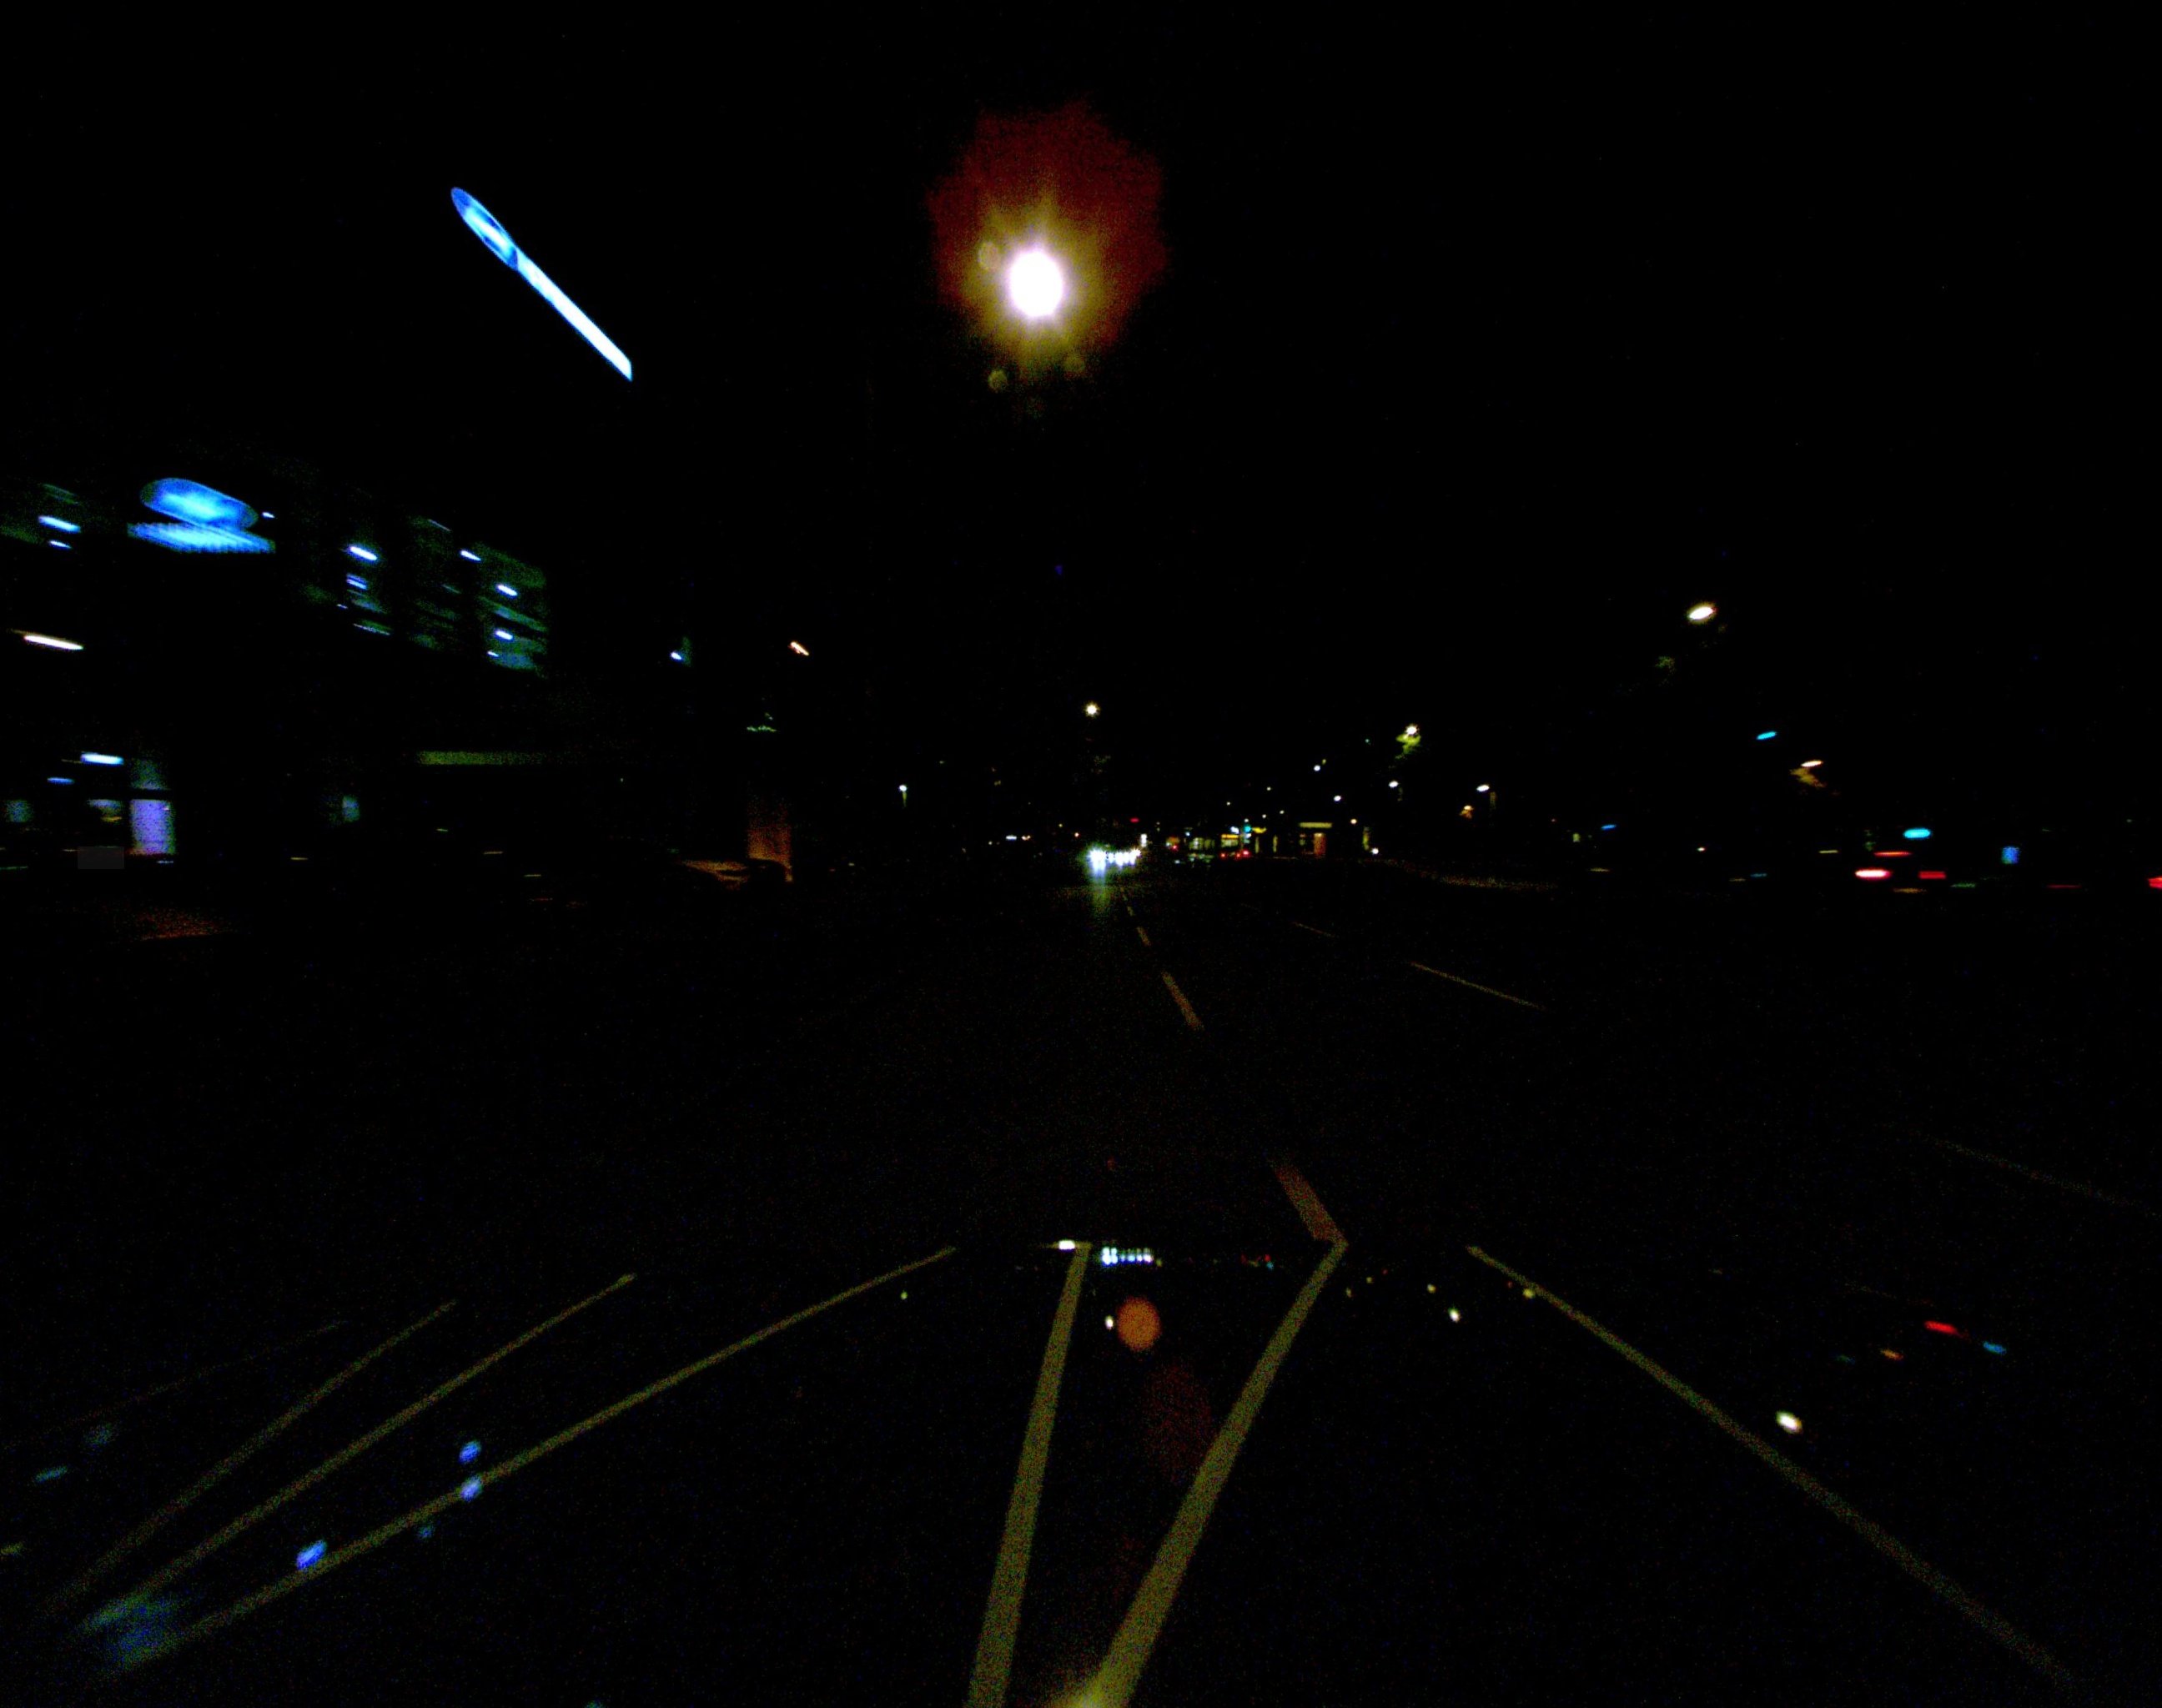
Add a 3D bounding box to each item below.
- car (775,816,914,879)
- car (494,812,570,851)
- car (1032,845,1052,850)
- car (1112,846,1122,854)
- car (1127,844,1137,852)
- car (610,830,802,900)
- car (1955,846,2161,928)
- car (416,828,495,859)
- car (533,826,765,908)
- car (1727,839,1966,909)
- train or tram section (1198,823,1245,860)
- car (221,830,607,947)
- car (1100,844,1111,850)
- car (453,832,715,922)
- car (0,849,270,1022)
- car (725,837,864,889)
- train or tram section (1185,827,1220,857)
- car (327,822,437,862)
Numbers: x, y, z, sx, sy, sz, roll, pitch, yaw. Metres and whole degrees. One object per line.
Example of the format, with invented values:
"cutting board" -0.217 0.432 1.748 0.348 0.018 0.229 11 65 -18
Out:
"car" -11.232 -0.291 36.510 6.041 2.514 2.280 4 0 -16
"car" -25.066 -1.011 34.822 1.785 1.592 3.959 4 0 -21
"car" -7.691 -1.270 150.276 4.008 1.028 1.480 0 0 -39
"car" 7.682 -0.855 162.535 1.858 1.482 3.560 -1 1 8
"car" 11.019 -1.312 164.561 1.907 1.609 3.718 -1 1 3
"car" -10.496 0.316 21.615 4.475 1.799 1.998 1 0 -10
"car" 22.028 0.631 16.506 1.664 1.508 3.910 -1 1 3
"car" -28.581 -0.498 34.834 1.659 1.328 3.871 1 1 -21
"car" -10.428 0.321 18.717 4.476 1.677 1.998 3 0 -10
"car" 19.163 0.407 19.348 1.789 1.489 4.172 -1 2 -2
"train or tram section" 16.097 -1.383 88.554 2.765 3.805 18.670 -1 1 2
"car" -10.643 0.528 12.472 4.475 1.539 1.768 4 1 -8
"car" 5.246 -1.534 163.295 1.947 1.299 3.907 1 1 8
"car" -10.098 0.472 15.769 4.094 1.559 1.853 3 0 -10
"car" -10.692 0.697 7.177 3.816 1.445 1.715 2 0 -13
"car" -9.905 0.295 26.580 4.216 1.653 1.959 2 1 -10
"train or tram section" 16.954 -1.642 107.570 2.744 3.824 19.364 -1 1 3
"car" -31.271 -0.550 34.211 2.002 1.652 4.658 -2 2 -21
